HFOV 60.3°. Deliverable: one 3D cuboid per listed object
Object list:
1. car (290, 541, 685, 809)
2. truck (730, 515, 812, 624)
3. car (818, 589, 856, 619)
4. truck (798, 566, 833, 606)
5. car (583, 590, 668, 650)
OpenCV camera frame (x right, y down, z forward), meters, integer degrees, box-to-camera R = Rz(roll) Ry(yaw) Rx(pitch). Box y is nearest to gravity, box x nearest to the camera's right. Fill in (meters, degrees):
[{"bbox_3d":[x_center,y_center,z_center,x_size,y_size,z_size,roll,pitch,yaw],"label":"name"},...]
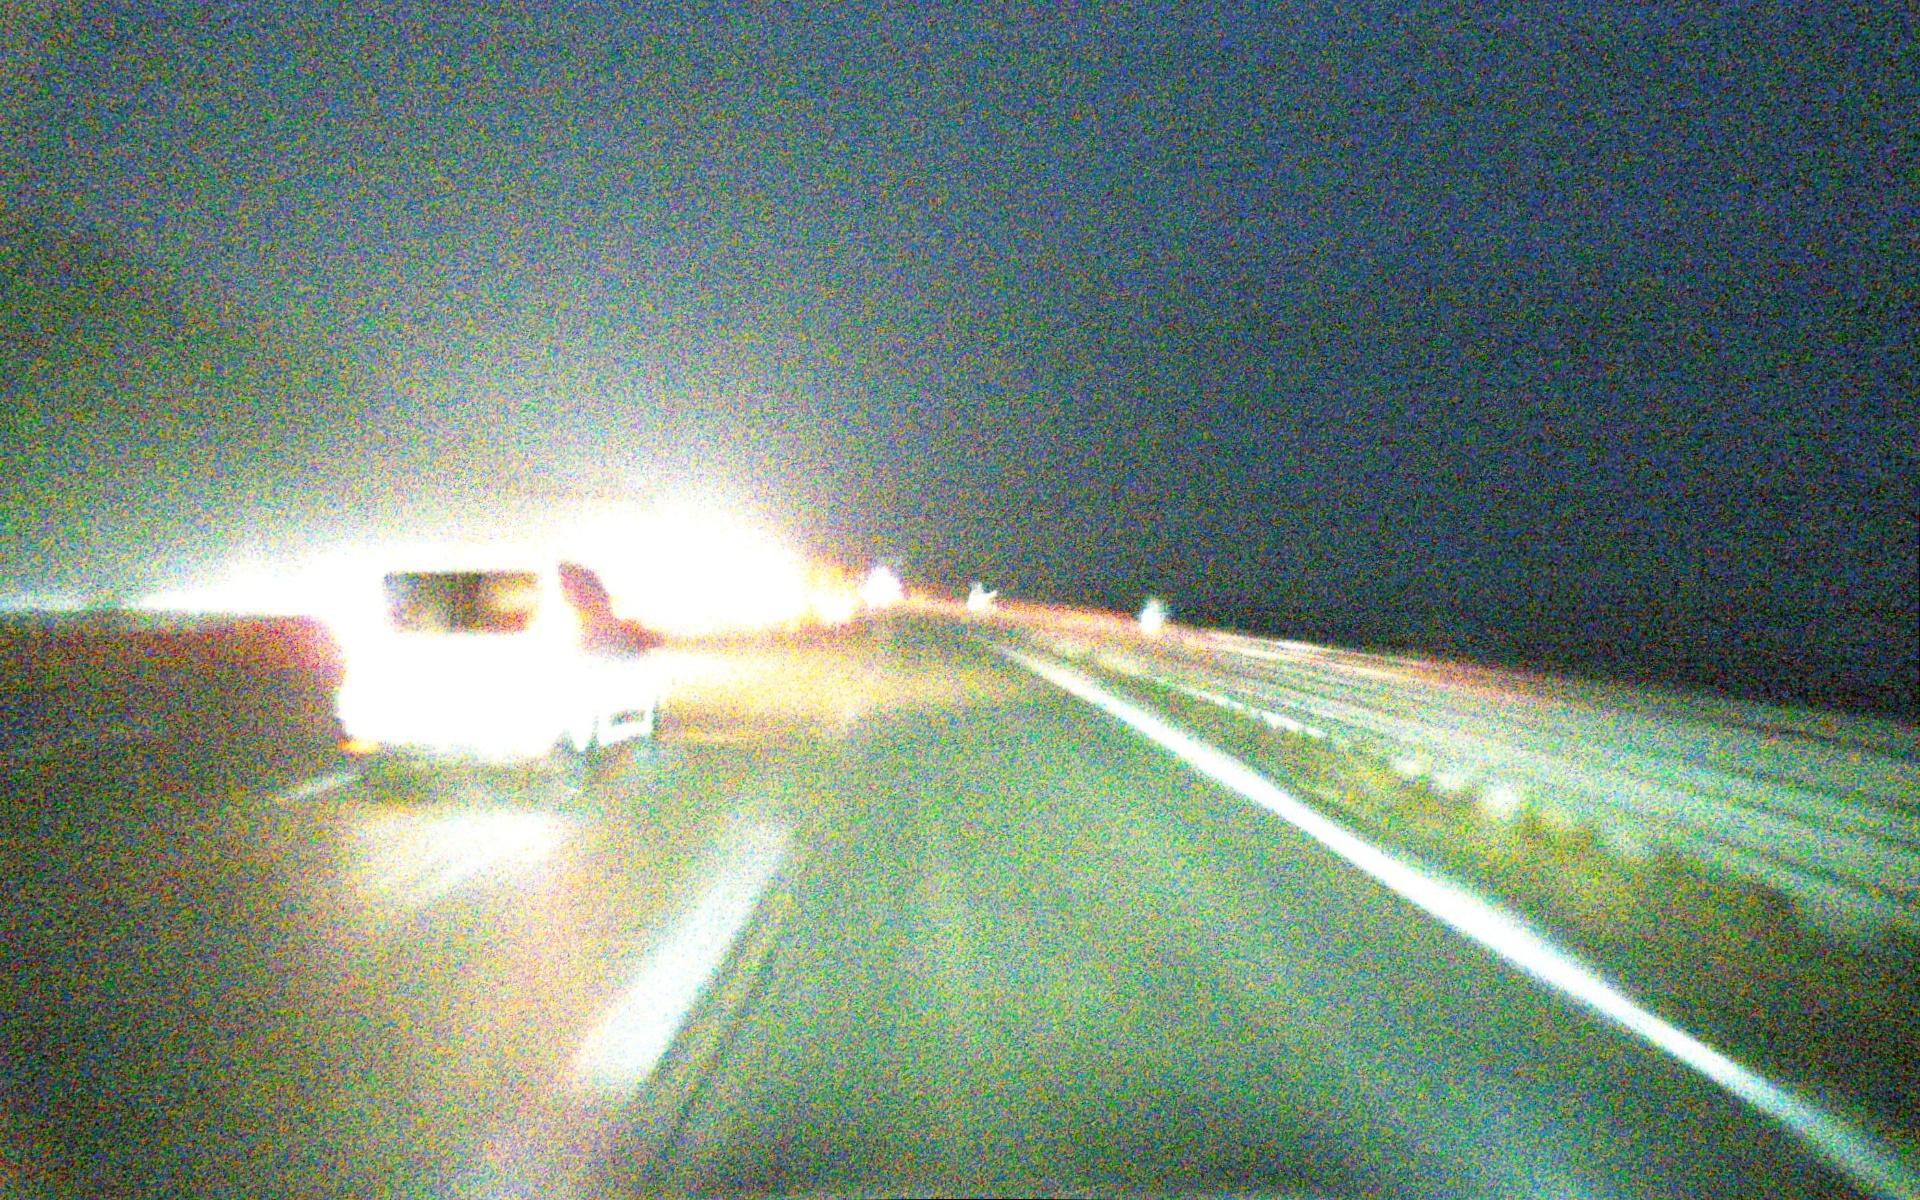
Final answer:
[{"bbox_3d":[-3.693,0.478,13.999,1.913,1.823,5.124,1,1,-1],"label":"car"},{"bbox_3d":[-10.801,-1.572,93.408,4.090,5.641,13.048,1,0,-8],"label":"truck"},{"bbox_3d":[-7.528,0.224,100.594,1.957,1.737,4.187,1,0,-9],"label":"car"},{"bbox_3d":[-18.896,-1.809,215.065,3.753,5.001,11.583,1,0,-8],"label":"truck"},{"bbox_3d":[-10.184,0.598,50.603,1.954,1.737,4.192,1,0,-4],"label":"car"}]
